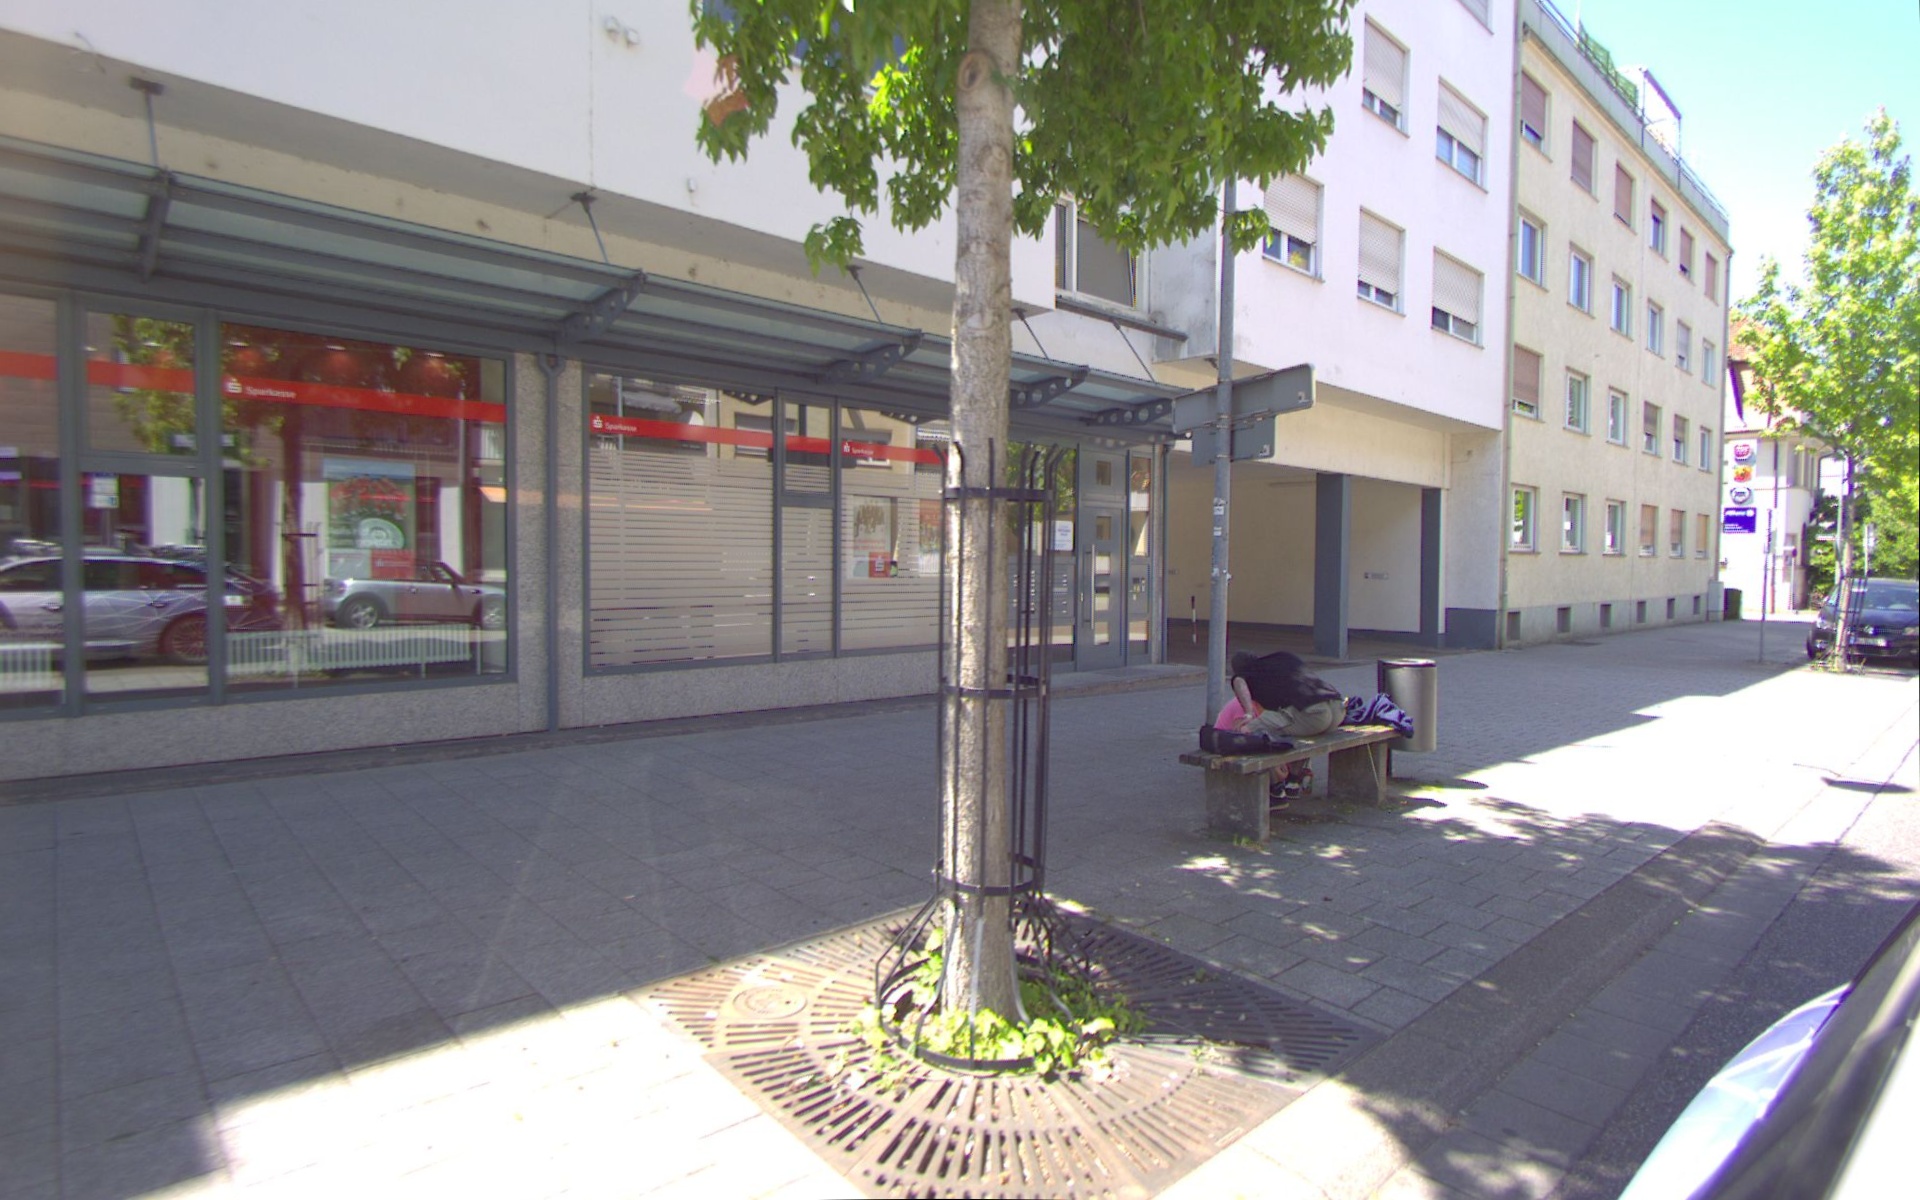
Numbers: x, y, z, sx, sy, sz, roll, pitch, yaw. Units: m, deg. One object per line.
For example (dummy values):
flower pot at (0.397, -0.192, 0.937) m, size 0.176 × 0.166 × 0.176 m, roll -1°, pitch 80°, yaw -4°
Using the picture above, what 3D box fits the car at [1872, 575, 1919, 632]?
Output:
car at (26.988, 0.061, 28.374) m, size 4.063 × 1.506 × 1.691 m, roll -1°, pitch 2°, yaw -42°

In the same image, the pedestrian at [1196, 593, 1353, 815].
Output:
pedestrian at (1.946, 0.600, 6.316) m, size 0.527 × 1.255 × 0.764 m, roll 0°, pitch 2°, yaw -28°

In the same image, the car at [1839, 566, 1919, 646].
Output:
car at (22.122, 0.083, 23.966) m, size 1.689 × 1.743 × 4.067 m, roll 2°, pitch 2°, yaw 45°

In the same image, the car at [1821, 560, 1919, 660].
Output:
car at (18.417, 0.154, 20.067) m, size 1.690 × 1.742 × 3.936 m, roll 6°, pitch 5°, yaw 44°

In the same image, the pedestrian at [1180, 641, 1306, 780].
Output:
pedestrian at (2.003, 0.761, 7.208) m, size 0.527 × 0.862 × 0.681 m, roll 0°, pitch 3°, yaw -28°
